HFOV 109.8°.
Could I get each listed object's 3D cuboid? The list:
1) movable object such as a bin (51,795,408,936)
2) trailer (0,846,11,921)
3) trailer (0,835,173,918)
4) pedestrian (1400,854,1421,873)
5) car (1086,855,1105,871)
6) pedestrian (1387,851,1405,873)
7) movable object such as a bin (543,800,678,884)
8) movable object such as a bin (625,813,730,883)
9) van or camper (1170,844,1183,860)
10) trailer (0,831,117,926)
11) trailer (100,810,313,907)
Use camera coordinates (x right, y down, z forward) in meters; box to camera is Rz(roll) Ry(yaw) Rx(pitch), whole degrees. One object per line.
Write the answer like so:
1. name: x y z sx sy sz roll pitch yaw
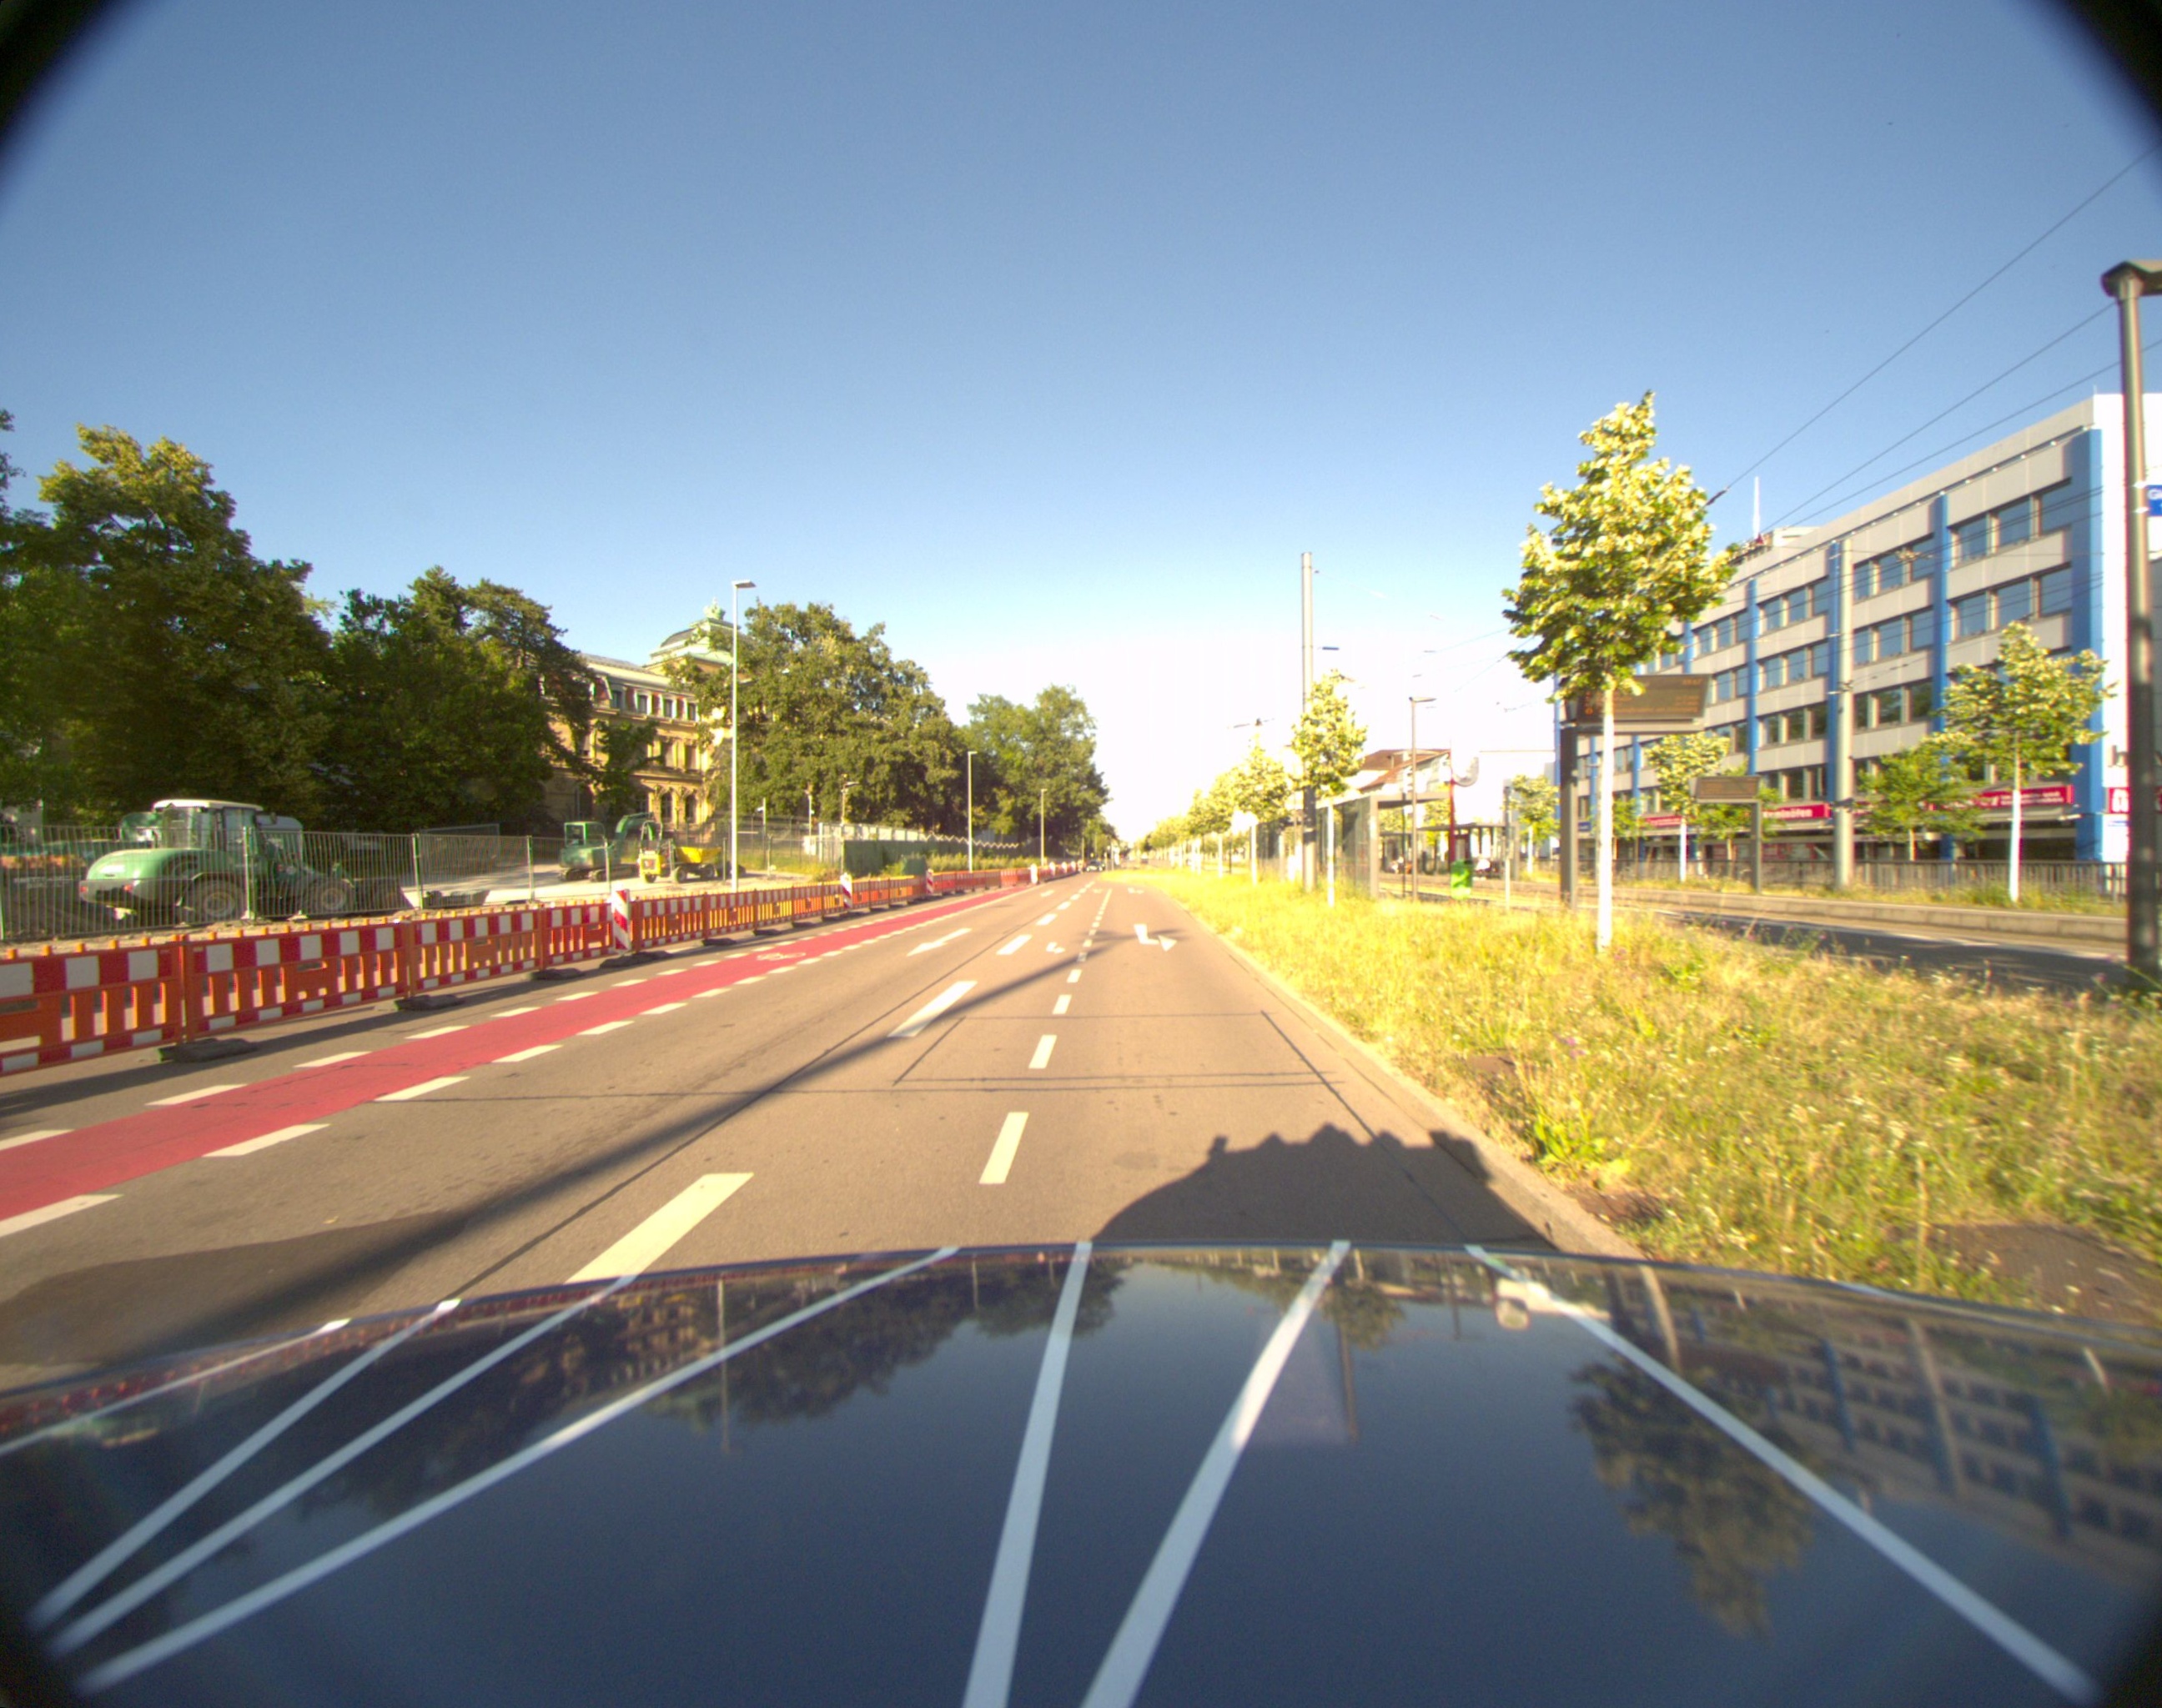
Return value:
1. movable object such as a bin: -18.499 0.217 17.012 2.281 2.688 4.943 0 0 3
2. trailer: -29.785 0.613 18.108 5.043 2.311 2.222 0 5 0
3. trailer: -30.930 0.651 23.419 2.954 2.311 2.222 0 5 0
4. pedestrian: 20.232 0.585 46.665 0.936 1.190 0.764 0 1 3
5. car: 1.824 1.055 92.895 2.080 1.827 4.001 0 0 4
6. pedestrian: 20.406 0.507 49.231 0.840 1.402 0.804 0 1 3
7. movable object such as a bin: -21.386 -0.500 34.914 2.280 3.536 5.502 0 0 8
8. movable object such as a bin: -17.672 -0.225 33.503 1.997 2.887 4.003 0 0 10
9. van or camper: 19.779 -0.402 157.056 2.510 3.149 7.479 -1 0 6
10. trailer: -30.162 0.610 20.544 5.043 2.311 2.222 0 5 0
11. trailer: -30.673 0.050 26.920 2.616 3.075 3.982 0 5 0
